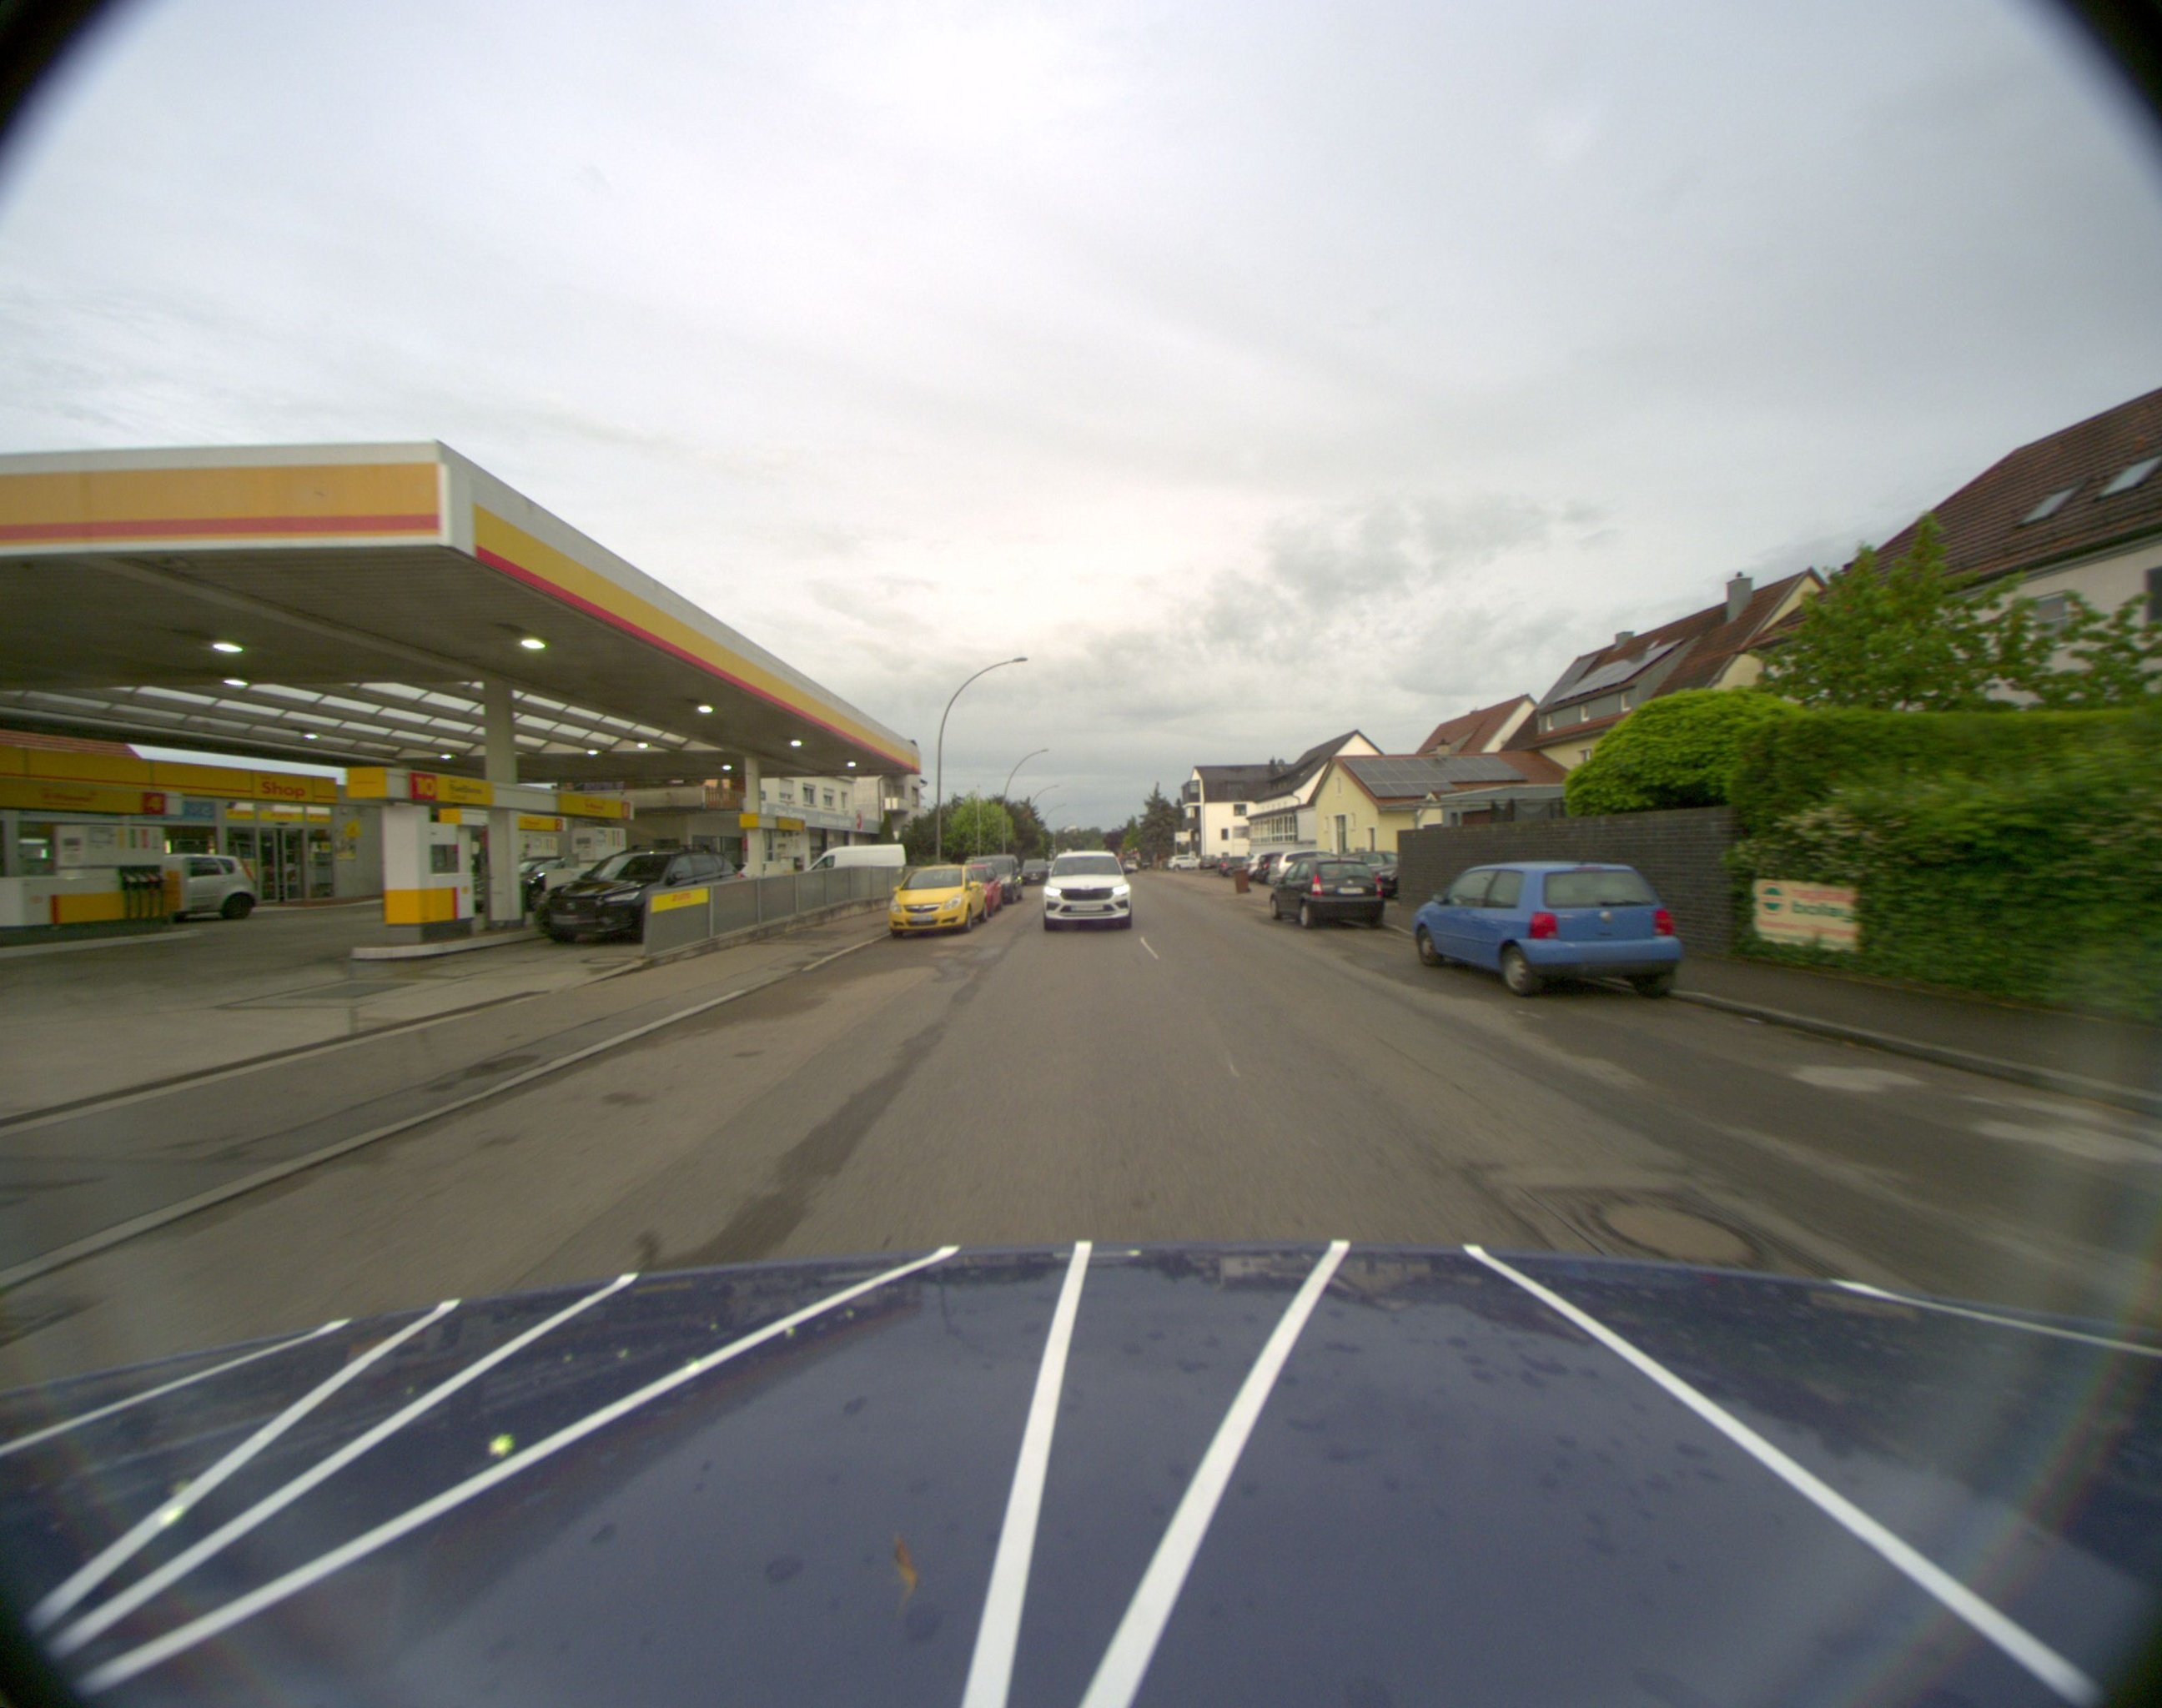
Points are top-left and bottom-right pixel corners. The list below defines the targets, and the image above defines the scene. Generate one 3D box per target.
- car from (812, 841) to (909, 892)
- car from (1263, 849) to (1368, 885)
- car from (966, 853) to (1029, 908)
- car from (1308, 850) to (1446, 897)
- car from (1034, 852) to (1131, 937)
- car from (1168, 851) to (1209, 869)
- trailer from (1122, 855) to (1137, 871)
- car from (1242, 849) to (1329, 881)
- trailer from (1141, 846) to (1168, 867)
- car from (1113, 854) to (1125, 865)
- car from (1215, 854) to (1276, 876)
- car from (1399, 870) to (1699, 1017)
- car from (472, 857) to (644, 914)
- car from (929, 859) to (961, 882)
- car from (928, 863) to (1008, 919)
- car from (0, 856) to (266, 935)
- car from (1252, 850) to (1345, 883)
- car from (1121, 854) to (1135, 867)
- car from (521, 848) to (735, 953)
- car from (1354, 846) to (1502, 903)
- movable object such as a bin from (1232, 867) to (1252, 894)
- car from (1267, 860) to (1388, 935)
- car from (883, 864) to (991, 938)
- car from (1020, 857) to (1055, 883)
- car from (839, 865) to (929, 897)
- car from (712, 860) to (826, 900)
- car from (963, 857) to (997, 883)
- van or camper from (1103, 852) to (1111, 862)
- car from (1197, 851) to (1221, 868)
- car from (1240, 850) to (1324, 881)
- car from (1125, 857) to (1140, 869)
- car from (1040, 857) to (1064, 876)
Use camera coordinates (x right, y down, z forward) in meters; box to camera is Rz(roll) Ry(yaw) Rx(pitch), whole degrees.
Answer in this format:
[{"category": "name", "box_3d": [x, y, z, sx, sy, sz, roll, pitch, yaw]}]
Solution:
[{"category": "car", "box_3d": [-11.862, 0.636, 40.831, 4.809, 2.506, 2.244, -1, 0, -21]}, {"category": "car", "box_3d": [10.528, 0.574, 34.299, 4.095, 1.505, 1.883, -1, 0, -3]}, {"category": "car", "box_3d": [-2.981, 0.899, 27.975, 1.660, 1.728, 4.444, -4, 0, 0]}, {"category": "car", "box_3d": [10.189, 0.650, 26.332, 4.095, 1.405, 1.714, -2, 0, -2]}, {"category": "car", "box_3d": [0.067, 0.823, 17.408, 1.884, 1.650, 4.831, -1, 0, 1]}, {"category": "car", "box_3d": [11.626, 0.647, 82.368, 3.997, 1.637, 2.000, -5, 0, -1]}, {"category": "trailer", "box_3d": [6.566, 1.190, 102.862, 1.721, 2.114, 4.007, -2, 0, 1]}, {"category": "car", "box_3d": [10.783, 0.575, 40.255, 4.095, 1.523, 1.813, -1, 0, -3]}, {"category": "trailer", "box_3d": [11.425, 0.420, 118.179, 4.059, 3.028, 2.168, -2, 1, 2]}, {"category": "car", "box_3d": [7.598, 1.100, 152.489, 2.264, 2.275, 4.531, 1, 0, 0]}, {"category": "car", "box_3d": [11.455, 0.780, 53.007, 3.883, 1.430, 1.768, -1, 0, 0]}, {"category": "car", "box_3d": [5.434, 0.935, 9.411, 1.549, 1.395, 3.597, 0, 0, 1]}, {"category": "car", "box_3d": [-15.076, 0.841, 22.287, 1.744, 1.457, 4.673, -2, 0, 0]}, {"category": "car", "box_3d": [-9.474, 1.155, 53.224, 1.752, 1.510, 3.731, 2, 0, -3]}, {"category": "car", "box_3d": [-3.176, 0.997, 22.042, 1.660, 1.368, 4.024, -2, 0, 0]}, {"category": "car", "box_3d": [-20.364, 0.799, 16.238, 1.744, 1.457, 3.780, -2, 0, 0]}, {"category": "car", "box_3d": [10.888, 0.617, 38.119, 4.096, 1.494, 1.756, -1, 0, -5]}, {"category": "car", "box_3d": [7.471, 1.030, 120.832, 1.998, 2.112, 4.755, -1, 0, 2]}, {"category": "car", "box_3d": [-8.441, 0.777, 14.644, 1.824, 1.749, 3.999, 1, 0, -2]}, {"category": "car", "box_3d": [10.353, 0.582, 22.803, 3.595, 1.448, 1.756, -3, 1, -4]}, {"category": "movable object such as a bin", "box_3d": [6.829, 1.124, 32.176, 0.597, 1.051, 0.687, -6, -1, 1]}, {"category": "car", "box_3d": [5.436, 0.891, 17.227, 1.612, 1.497, 3.707, 0, 0, 1]}, {"category": "car", "box_3d": [-3.146, 0.988, 17.321, 1.660, 1.393, 3.801, -2, 0, 0]}, {"category": "car", "box_3d": [-2.753, 0.995, 49.042, 1.999, 1.586, 4.000, -1, 0, 0]}, {"category": "car", "box_3d": [-9.987, 1.321, 38.574, 4.007, 1.367, 1.775, -3, 2, -40]}, {"category": "car", "box_3d": [-14.223, 1.144, 34.827, 1.994, 1.631, 4.370, -1, 0, 44]}, {"category": "car", "box_3d": [-6.786, 1.069, 51.446, 1.999, 1.673, 3.999, -1, 0, -4]}, {"category": "van or camper", "box_3d": [6.231, 0.732, 183.816, 1.811, 2.328, 4.000, -2, 0, 2]}, {"category": "car", "box_3d": [12.985, 0.519, 77.488, 1.824, 1.521, 4.001, -7, 0, 3]}, {"category": "car", "box_3d": [11.233, 0.653, 42.679, 4.096, 1.523, 2.000, -2, -3, -5]}, {"category": "car", "box_3d": [6.522, 1.108, 96.151, 1.740, 1.496, 3.871, -1, 0, 1]}, {"category": "car", "box_3d": [-2.486, 1.046, 65.785, 1.741, 1.493, 3.882, -3, 0, 2]}]
